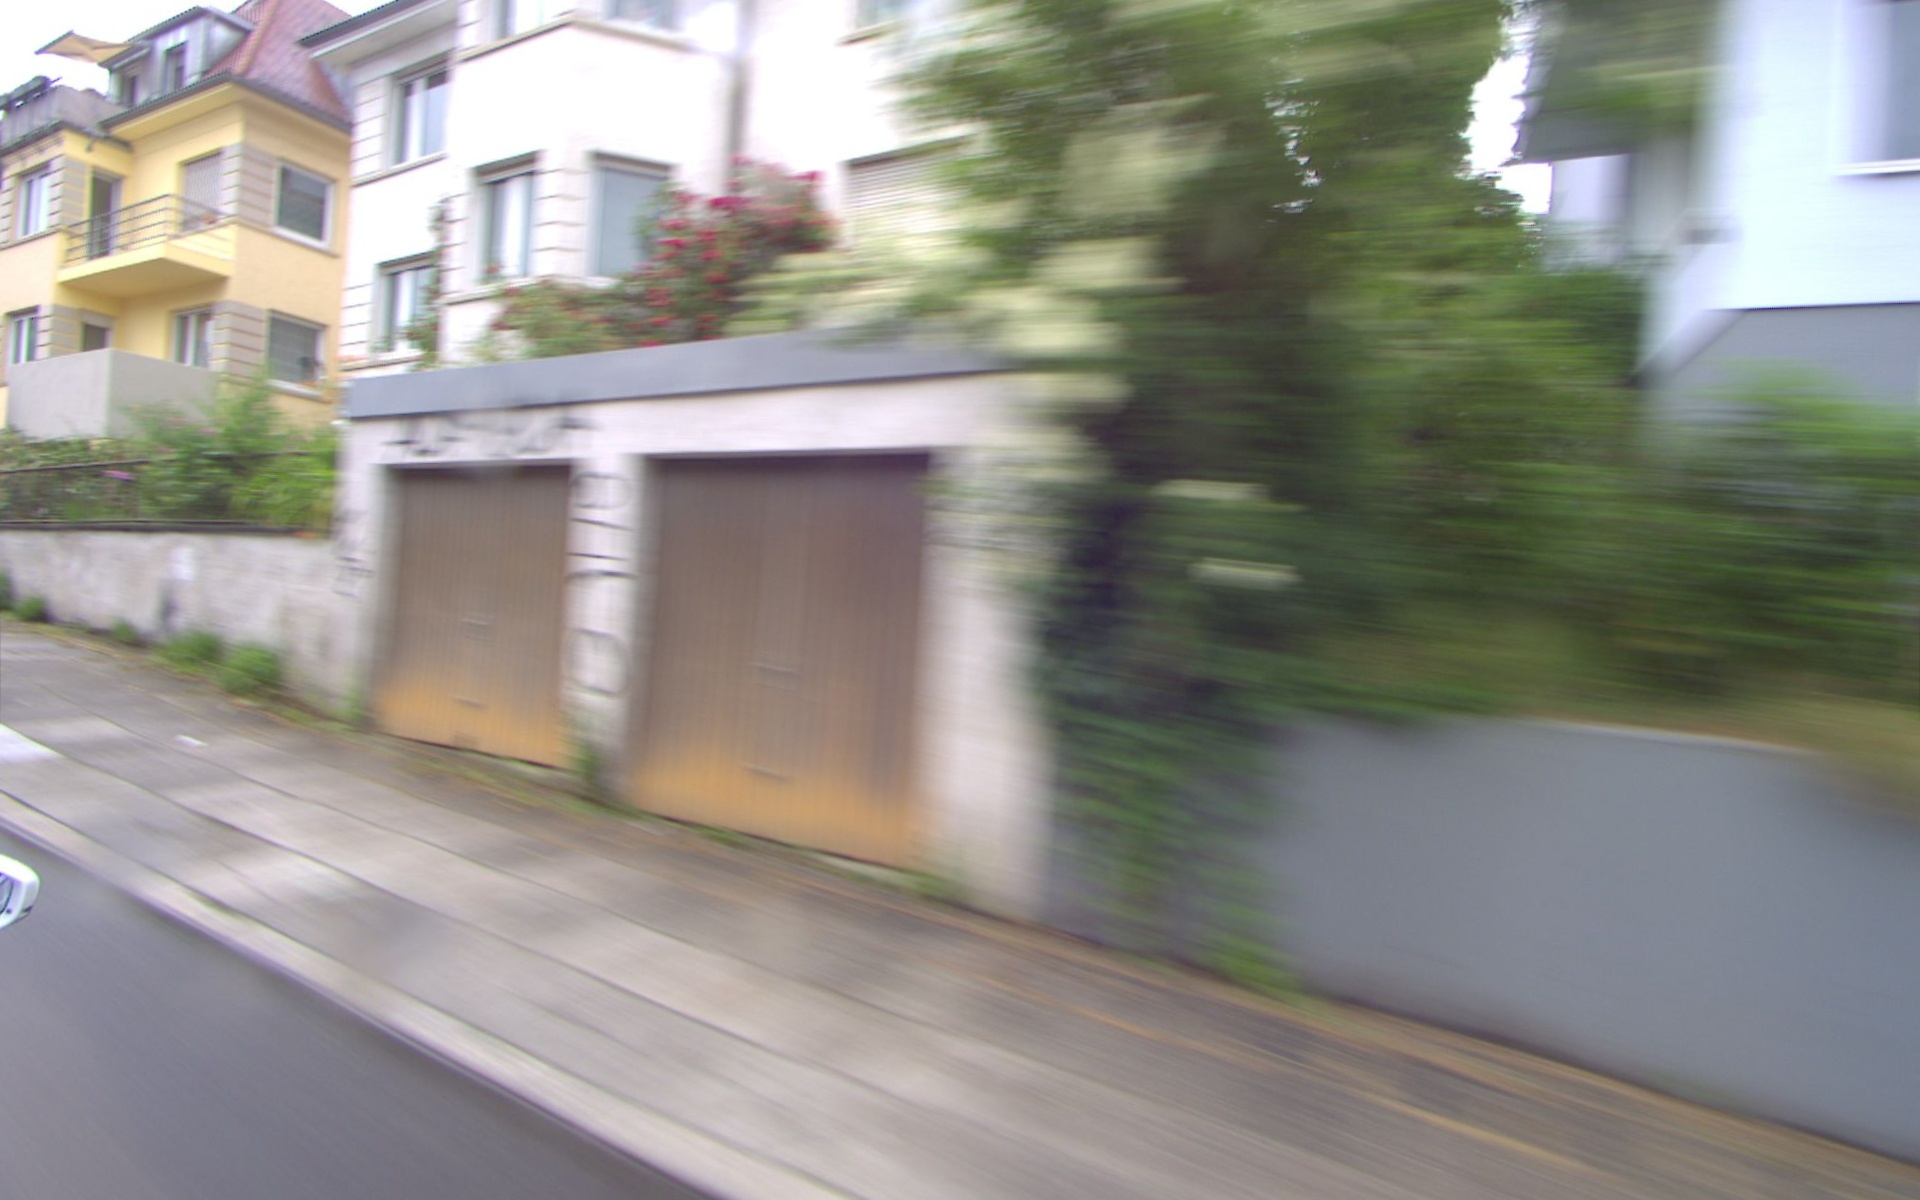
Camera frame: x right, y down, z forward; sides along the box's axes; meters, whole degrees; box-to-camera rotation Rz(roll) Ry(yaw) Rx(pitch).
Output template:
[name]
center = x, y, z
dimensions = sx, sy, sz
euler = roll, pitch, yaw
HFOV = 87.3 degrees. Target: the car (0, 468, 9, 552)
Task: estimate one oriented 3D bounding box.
[car]
center = -18.891, -1.807, 16.847
dimensions = 1.711, 1.485, 3.987
euler = 9, 2, 34
